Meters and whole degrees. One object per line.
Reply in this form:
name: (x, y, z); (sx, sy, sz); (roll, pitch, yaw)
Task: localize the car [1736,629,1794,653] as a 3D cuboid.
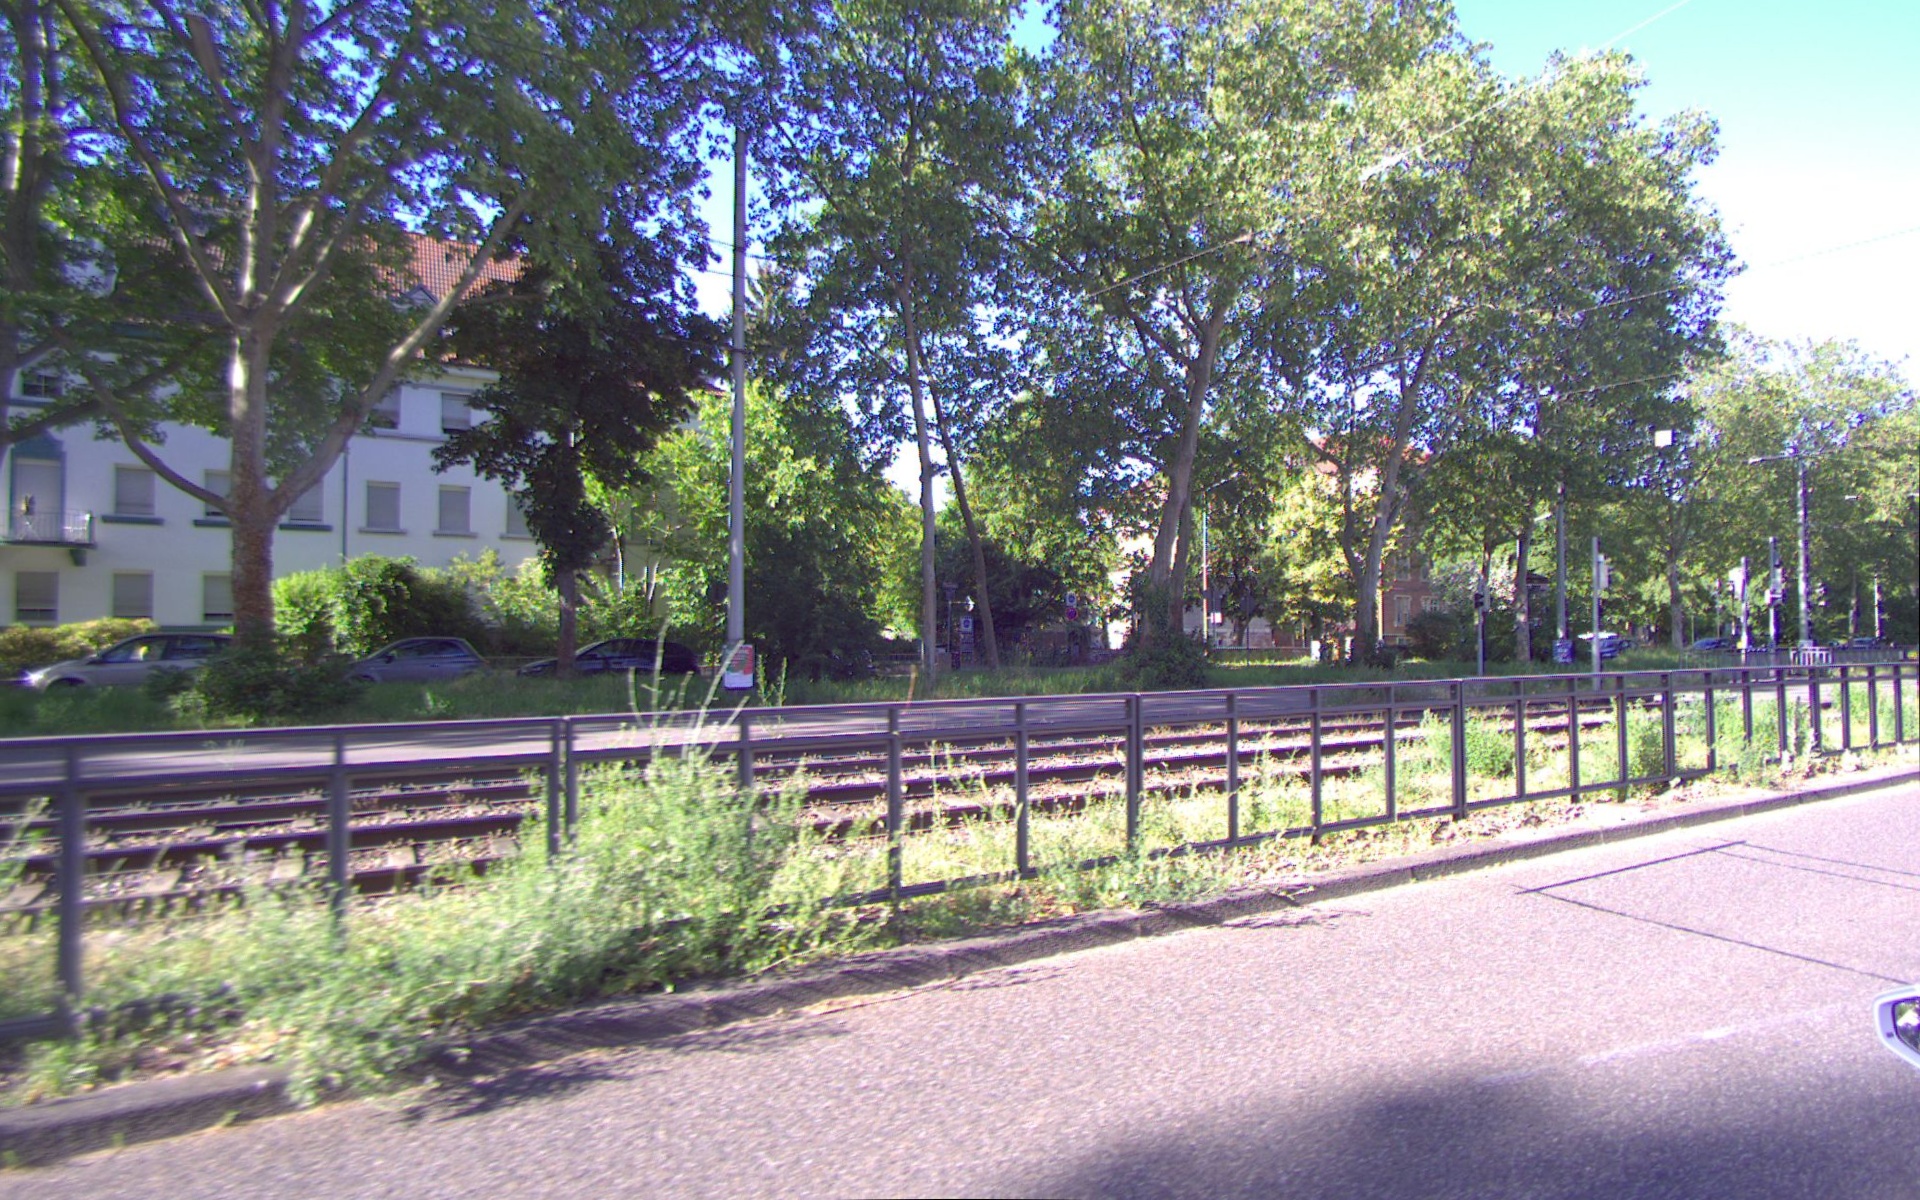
car: (51.645, 2.602, 64.424); (4.099, 1.529, 1.660); (1, -1, -32)

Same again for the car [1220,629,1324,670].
car: (12.358, 1.913, 39.691); (4.099, 1.529, 1.660); (1, -2, -32)

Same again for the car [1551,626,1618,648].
car: (45.269, 2.677, 72.877); (1.375, 1.514, 3.974); (1, -2, -26)

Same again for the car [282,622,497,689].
car: (-13.386, 1.273, 23.799); (4.267, 1.460, 1.776); (1, -2, -30)

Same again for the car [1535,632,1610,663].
car: (31.722, 2.425, 51.990); (4.099, 1.529, 1.660); (1, -2, -32)

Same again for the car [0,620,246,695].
car: (-17.759, 1.177, 21.141); (4.267, 1.459, 1.727); (1, -2, -30)

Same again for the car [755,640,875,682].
car: (-4.207, 1.751, 29.323); (3.184, 1.131, 1.463); (1, -2, -34)
